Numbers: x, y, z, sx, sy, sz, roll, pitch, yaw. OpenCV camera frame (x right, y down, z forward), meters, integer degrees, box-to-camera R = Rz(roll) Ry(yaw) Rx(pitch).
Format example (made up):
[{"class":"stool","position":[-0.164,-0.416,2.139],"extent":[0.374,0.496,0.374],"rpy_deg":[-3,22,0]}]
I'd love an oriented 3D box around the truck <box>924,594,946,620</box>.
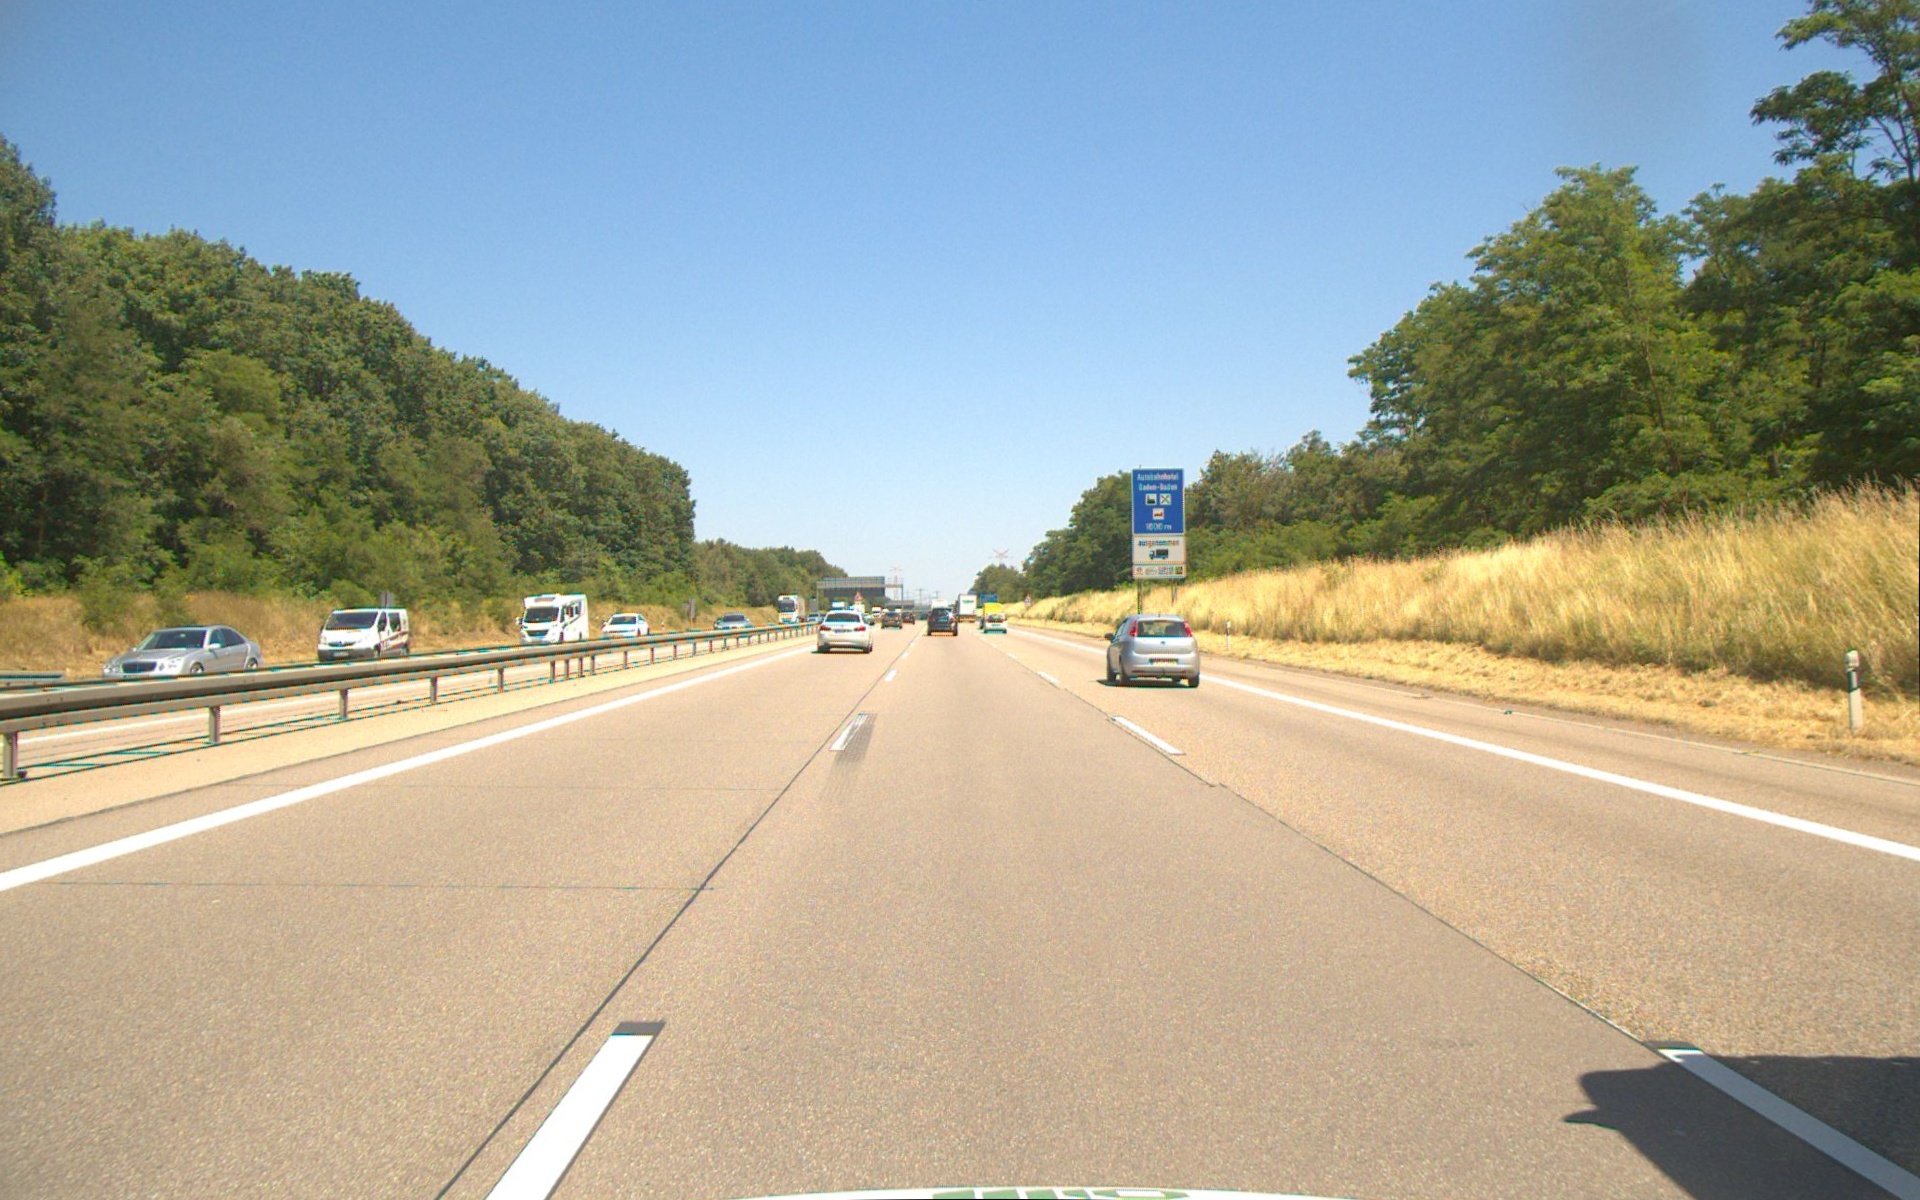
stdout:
[{"class":"truck","position":[-2.869,0.859,189.244],"extent":[2.380,2.935,6.201],"rpy_deg":[1,-1,-2]}]

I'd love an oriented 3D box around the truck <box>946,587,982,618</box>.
[{"class":"truck","position":[0.536,0.319,246.175],"extent":[3.917,4.391,9.864],"rpy_deg":[2,-1,-8]}]

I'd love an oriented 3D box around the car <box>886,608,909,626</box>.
[{"class":"car","position":[-5.325,1.478,141.829],"extent":[1.794,1.457,4.998],"rpy_deg":[0,0,-1]}]

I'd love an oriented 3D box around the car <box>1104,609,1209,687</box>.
[{"class":"car","position":[4.137,0.973,35.284],"extent":[1.684,1.517,3.736],"rpy_deg":[1,0,-2]}]

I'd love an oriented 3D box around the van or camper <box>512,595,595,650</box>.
[{"class":"van or camper","position":[-21.078,1.144,86.221],"extent":[2.412,2.620,7.768],"rpy_deg":[-3,0,-1]}]

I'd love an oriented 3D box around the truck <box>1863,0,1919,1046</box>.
[{"class":"truck","position":[4.296,-0.537,2.426],"extent":[2.630,3.824,5.943],"rpy_deg":[0,0,-1]}]

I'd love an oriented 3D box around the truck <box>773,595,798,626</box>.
[{"class":"truck","position":[-23.856,1.452,226.733],"extent":[2.846,4.138,5.651],"rpy_deg":[-2,0,-2]}]

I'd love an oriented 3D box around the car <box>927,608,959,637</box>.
[{"class":"car","position":[-1.084,1.380,102.773],"extent":[1.795,1.701,3.998],"rpy_deg":[1,-1,-3]}]

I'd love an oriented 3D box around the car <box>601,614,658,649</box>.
[{"class":"car","position":[-17.299,1.628,86.812],"extent":[1.953,1.724,5.243],"rpy_deg":[-3,0,-1]}]

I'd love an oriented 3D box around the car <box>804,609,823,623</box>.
[{"class":"car","position":[-17.986,2.006,202.985],"extent":[1.953,1.595,4.527],"rpy_deg":[-3,0,-1]}]

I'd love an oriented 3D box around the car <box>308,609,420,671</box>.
[{"class":"car","position":[-20.621,1.347,57.461],"extent":[1.953,1.987,5.243],"rpy_deg":[-3,0,-1]}]

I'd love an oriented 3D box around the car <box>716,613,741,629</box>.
[{"class":"car","position":[-22.156,2.045,158.225],"extent":[1.777,1.420,4.110],"rpy_deg":[-3,0,-1]}]

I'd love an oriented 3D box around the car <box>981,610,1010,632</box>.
[{"class":"car","position":[2.550,1.500,119.407],"extent":[1.785,1.518,3.734],"rpy_deg":[1,-1,-4]}]

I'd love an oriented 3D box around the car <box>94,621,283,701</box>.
[{"class":"car","position":[-16.895,1.289,36.550],"extent":[1.814,1.554,5.203],"rpy_deg":[-1,0,-1]}]

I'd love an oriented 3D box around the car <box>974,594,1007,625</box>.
[{"class":"car","position":[2.691,0.854,147.856],"extent":[2.613,2.680,6.109],"rpy_deg":[1,-1,-2]}]

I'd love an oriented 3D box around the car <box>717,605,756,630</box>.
[{"class":"car","position":[-13.607,1.081,100.956],"extent":[1.799,1.397,4.351],"rpy_deg":[-3,0,-1]}]

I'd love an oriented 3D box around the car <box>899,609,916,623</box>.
[{"class":"car","position":[-6.111,1.868,193.217],"extent":[1.837,1.608,3.927],"rpy_deg":[0,0,0]}]

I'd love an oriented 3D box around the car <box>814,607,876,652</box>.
[{"class":"car","position":[-4.053,1.032,59.150],"extent":[1.924,1.530,5.403],"rpy_deg":[0,0,-1]}]
